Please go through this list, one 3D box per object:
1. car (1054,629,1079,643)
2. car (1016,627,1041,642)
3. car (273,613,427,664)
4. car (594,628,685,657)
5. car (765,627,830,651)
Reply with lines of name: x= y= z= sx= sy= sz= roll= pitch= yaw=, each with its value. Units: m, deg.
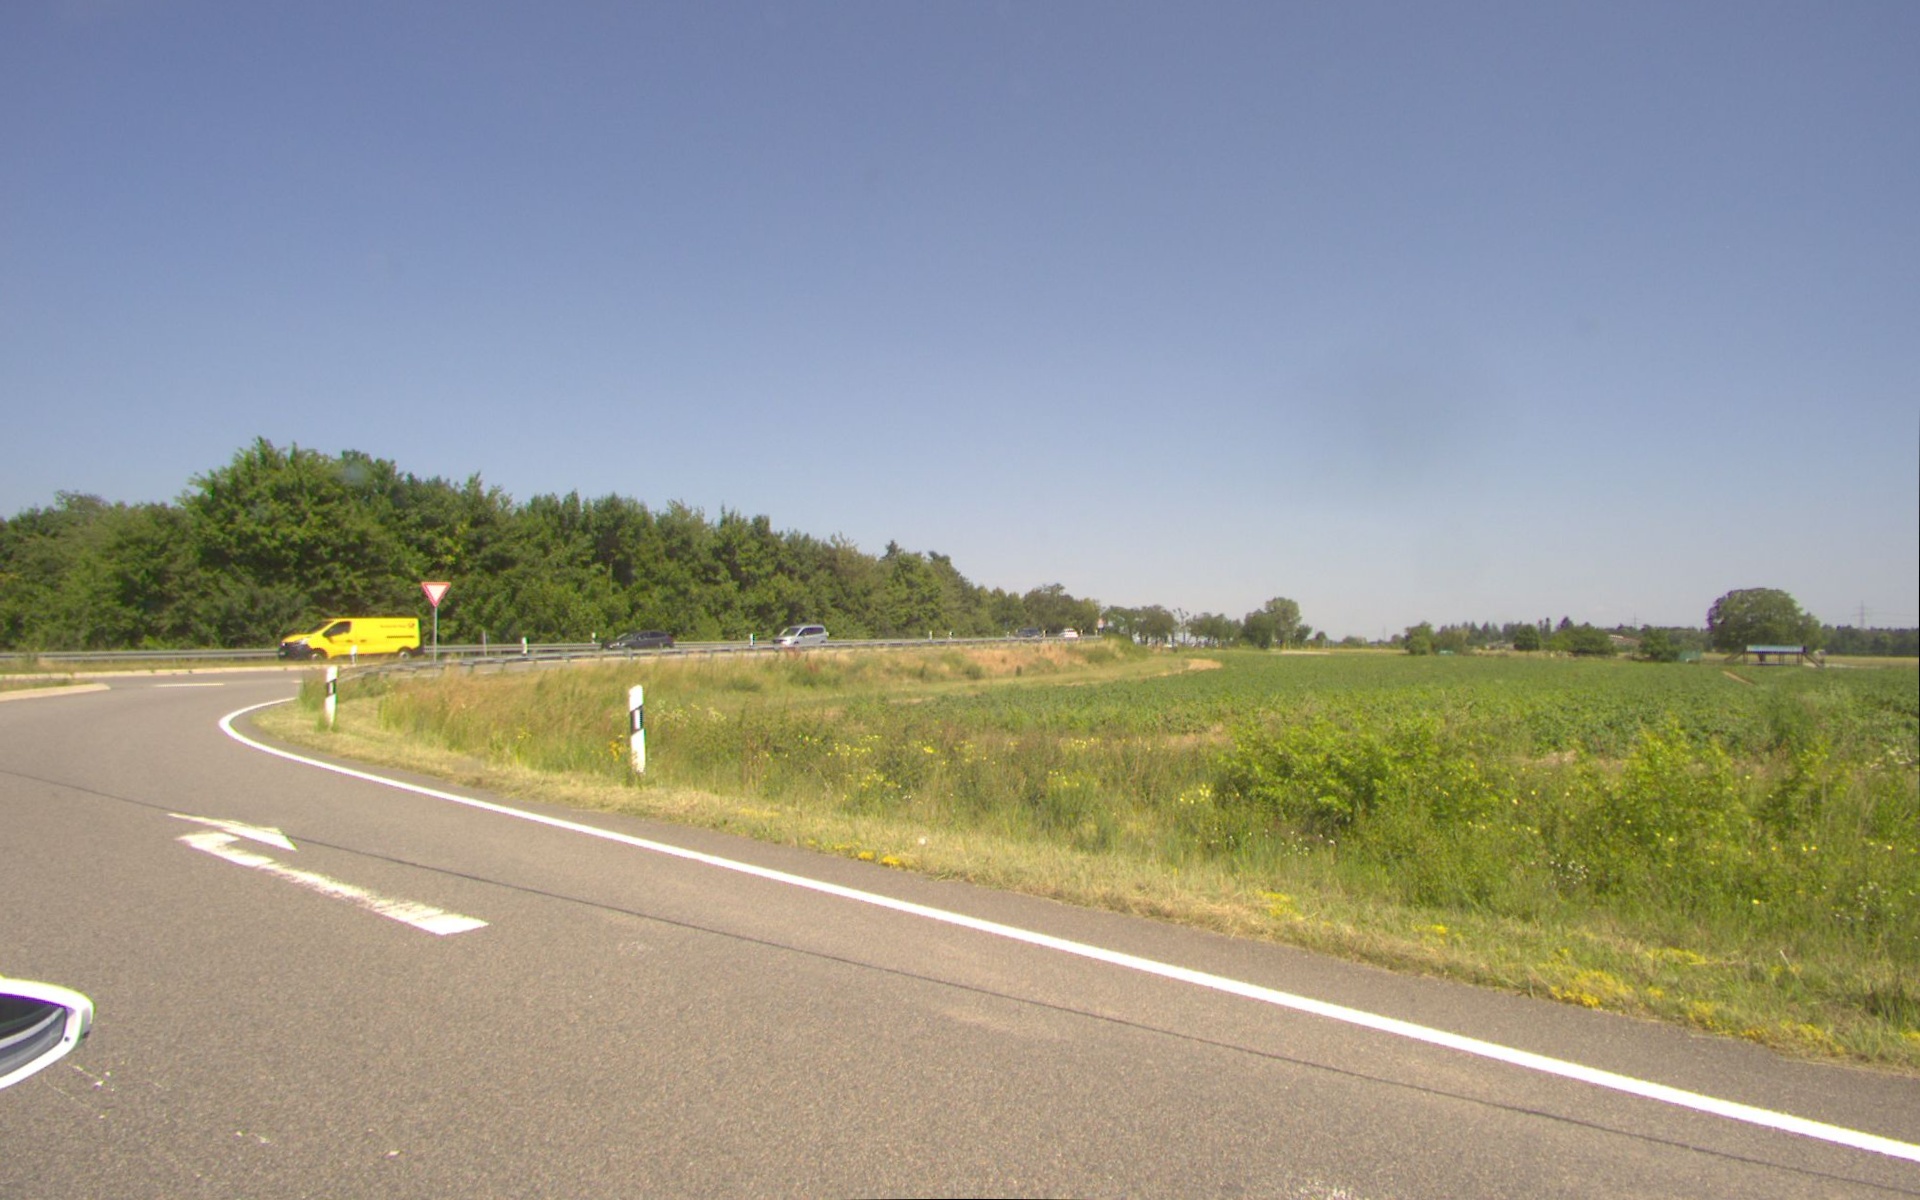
car: x=12.900 y=4.327 z=121.753 sx=1.707 sy=1.587 sz=4.479 roll=-1 pitch=-1 yaw=-13
car: x=8.026 y=4.048 z=118.012 sx=1.707 sy=1.587 sz=4.478 roll=-1 pitch=-1 yaw=-13
car: x=-25.916 y=1.625 z=42.770 sx=1.973 sy=2.039 sz=5.309 roll=-1 pitch=-2 yaw=34
car: x=-17.688 y=2.305 z=55.469 sx=1.828 sy=1.533 sz=4.671 roll=-1 pitch=-2 yaw=34
car: x=-10.856 y=2.628 z=67.334 sx=1.826 sy=1.533 sz=4.678 roll=-1 pitch=-2 yaw=30
